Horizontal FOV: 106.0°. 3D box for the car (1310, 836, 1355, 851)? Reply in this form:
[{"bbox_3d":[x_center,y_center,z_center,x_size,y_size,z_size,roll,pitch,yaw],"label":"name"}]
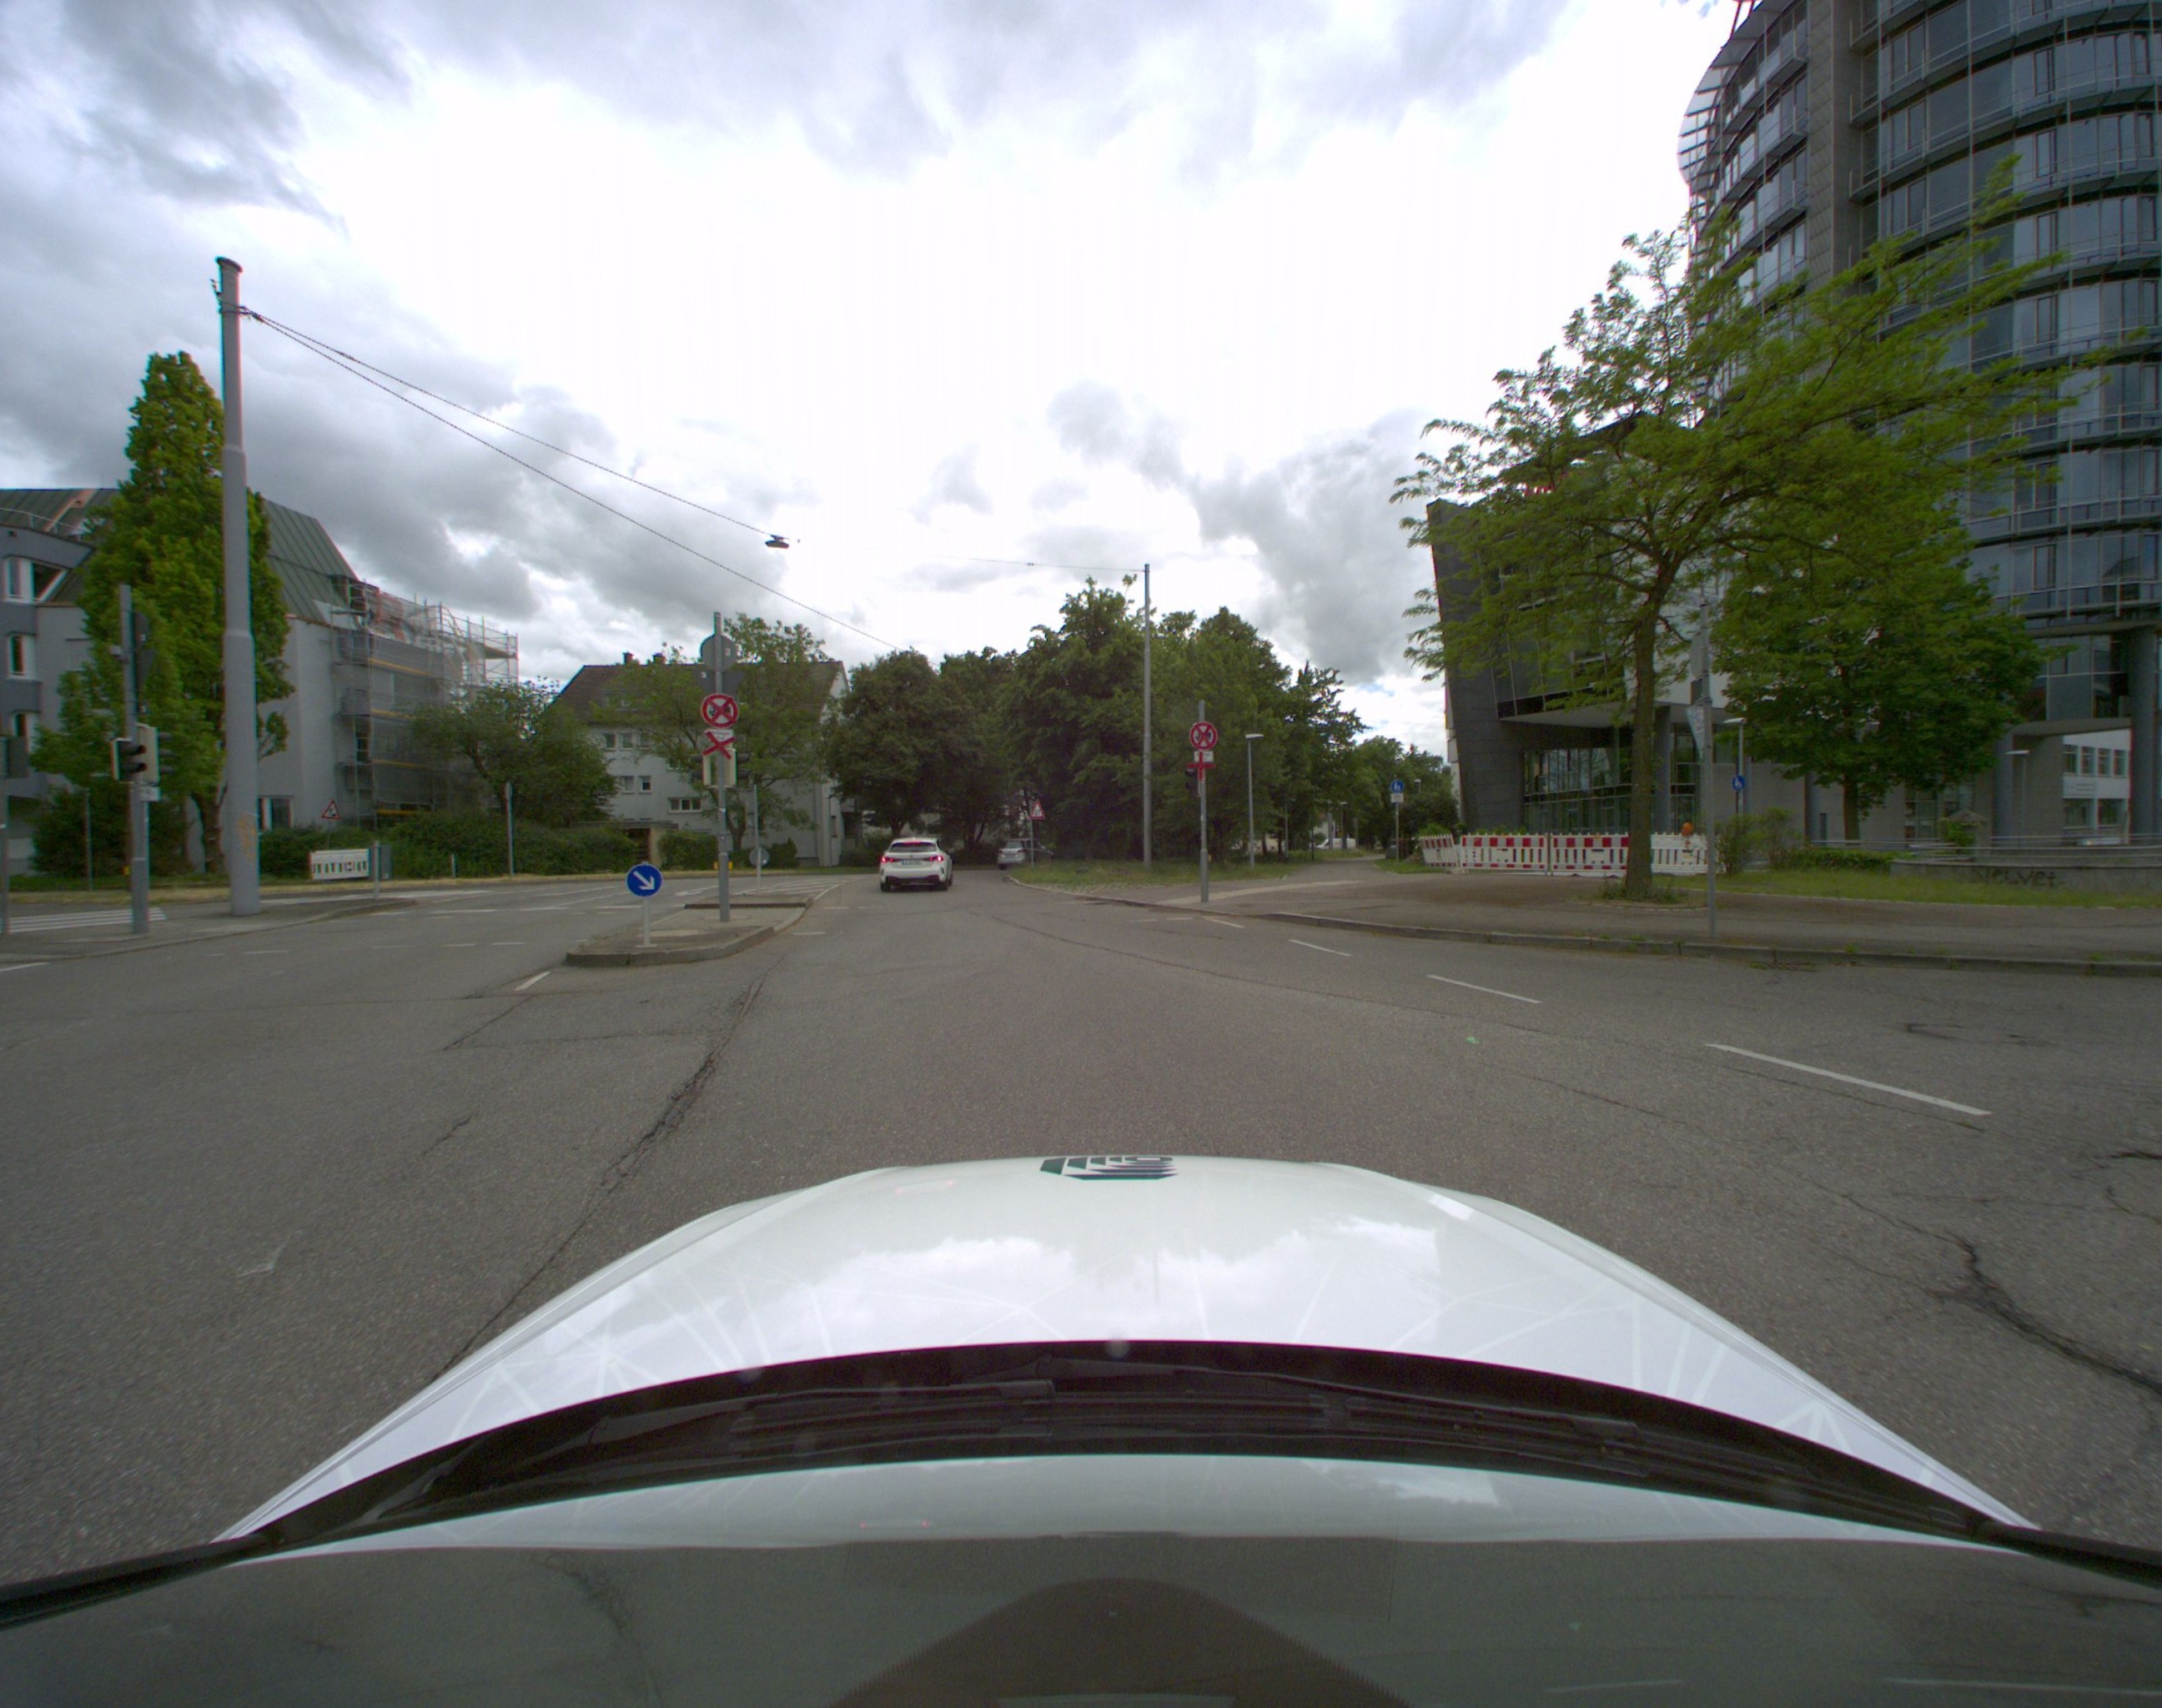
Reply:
[{"bbox_3d":[42.659,-1.854,138.257,6.945,2.521,2.082,0,2,-4],"label":"car"}]

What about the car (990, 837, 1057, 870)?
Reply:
[{"bbox_3d":[-2.852,-0.023,41.201,1.907,1.574,4.019,-1,0,19],"label":"car"}]

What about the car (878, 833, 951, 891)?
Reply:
[{"bbox_3d":[-4.683,0.217,23.417,1.795,1.517,4.195,0,0,-8],"label":"car"}]
